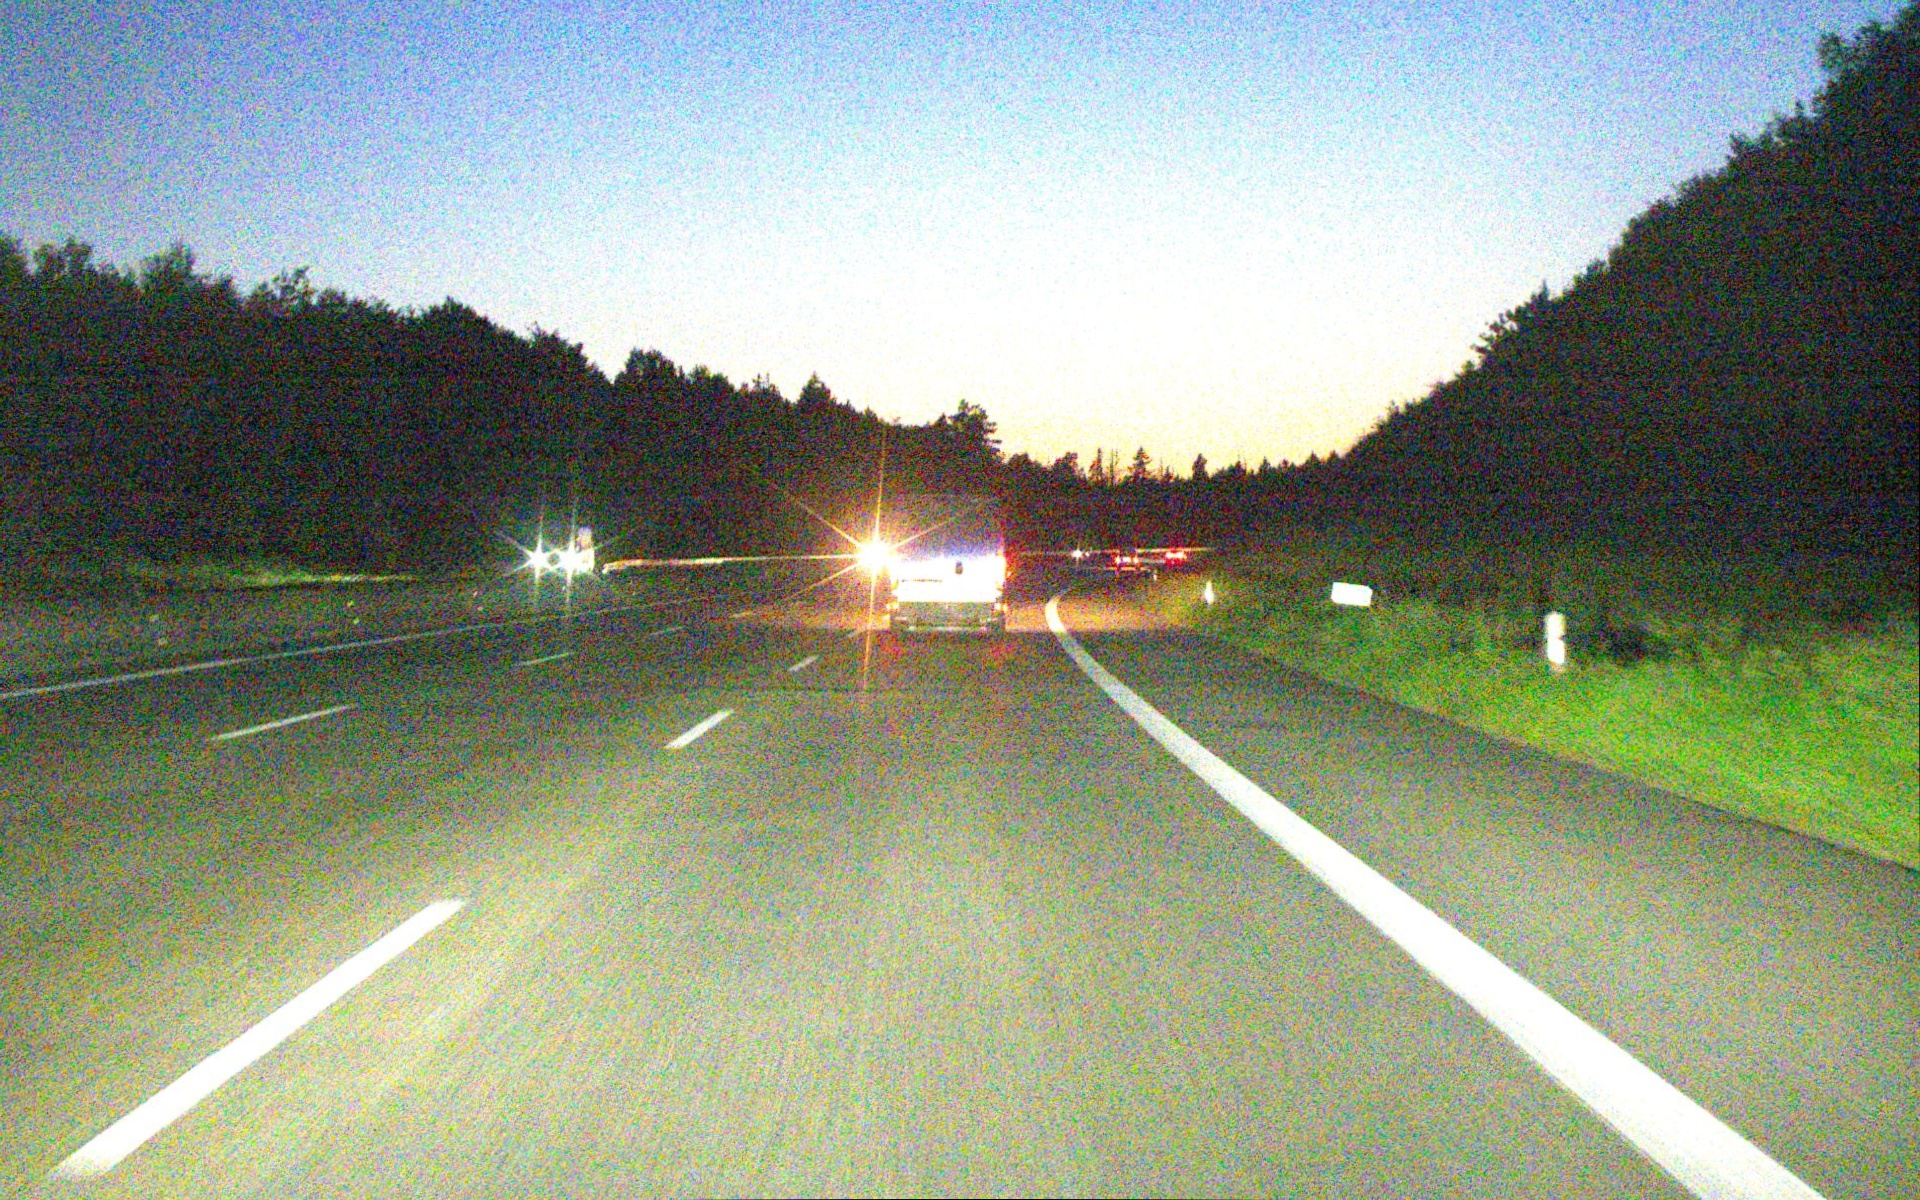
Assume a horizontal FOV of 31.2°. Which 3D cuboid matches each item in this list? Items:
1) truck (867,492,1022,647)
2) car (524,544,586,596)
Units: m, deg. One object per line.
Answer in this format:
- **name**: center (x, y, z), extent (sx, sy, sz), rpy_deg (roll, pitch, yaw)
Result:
- **truck**: center (-0.322, -0.564, 62.967), extent (2.630, 2.615, 8.685), rpy_deg (0, 1, -1)
- **car**: center (-19.879, -1.478, 168.921), extent (2.082, 2.479, 6.242), rpy_deg (0, 1, 2)
